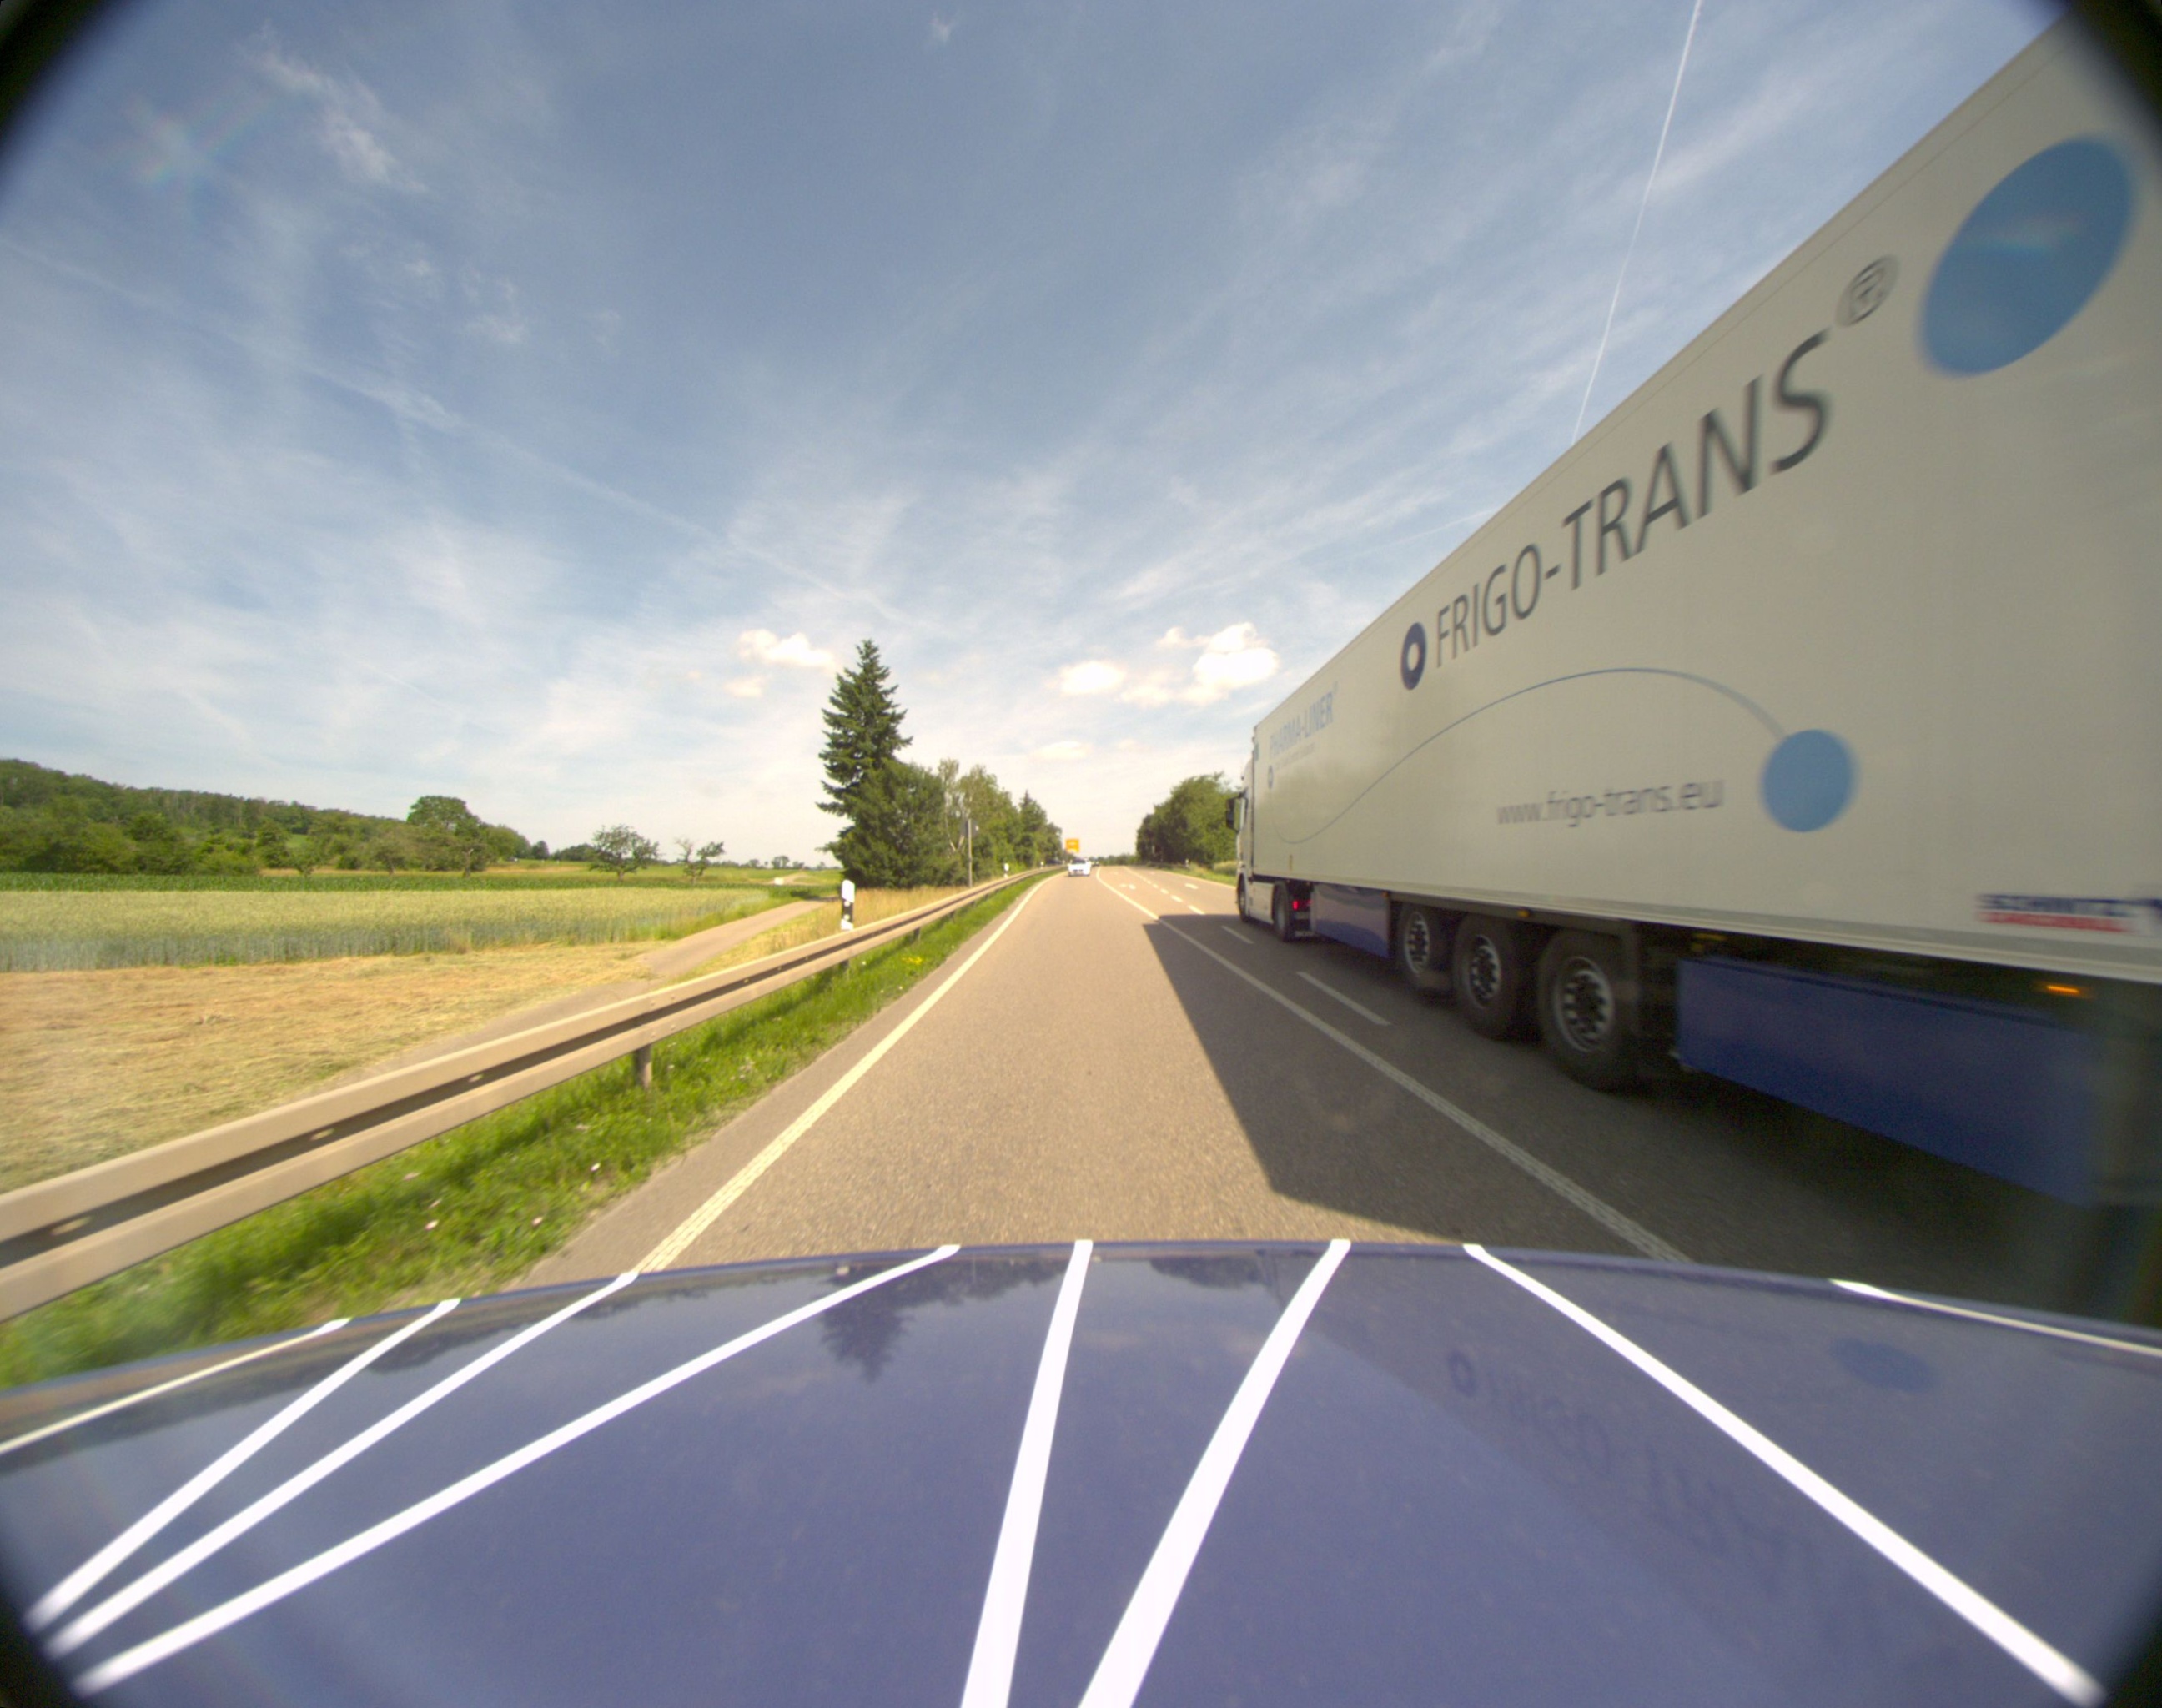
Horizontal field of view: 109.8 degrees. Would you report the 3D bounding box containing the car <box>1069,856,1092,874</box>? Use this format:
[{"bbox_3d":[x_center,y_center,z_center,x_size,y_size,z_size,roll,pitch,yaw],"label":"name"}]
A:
[{"bbox_3d":[-0.068,0.940,65.879,1.929,1.441,4.534,-2,0,-1],"label":"car"}]

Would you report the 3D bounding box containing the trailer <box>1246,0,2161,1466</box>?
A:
[{"bbox_3d":[4.364,-0.456,8.408,2.513,4.096,13.899,0,0,2],"label":"trailer"}]

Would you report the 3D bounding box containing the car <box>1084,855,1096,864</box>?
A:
[{"bbox_3d":[1.456,0.930,123.059,1.929,1.441,4.078,-1,-1,1],"label":"car"}]

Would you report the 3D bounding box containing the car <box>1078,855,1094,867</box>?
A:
[{"bbox_3d":[0.647,0.875,99.319,1.929,1.441,4.000,-1,0,2],"label":"car"}]

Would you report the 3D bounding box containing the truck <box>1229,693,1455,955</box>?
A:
[{"bbox_3d":[4.660,-0.493,14.920,2.536,4.096,6.021,0,1,2],"label":"truck"}]

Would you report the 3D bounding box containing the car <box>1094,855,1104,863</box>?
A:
[{"bbox_3d":[3.477,0.970,146.357,1.929,1.441,4.001,-1,-1,1],"label":"car"}]
